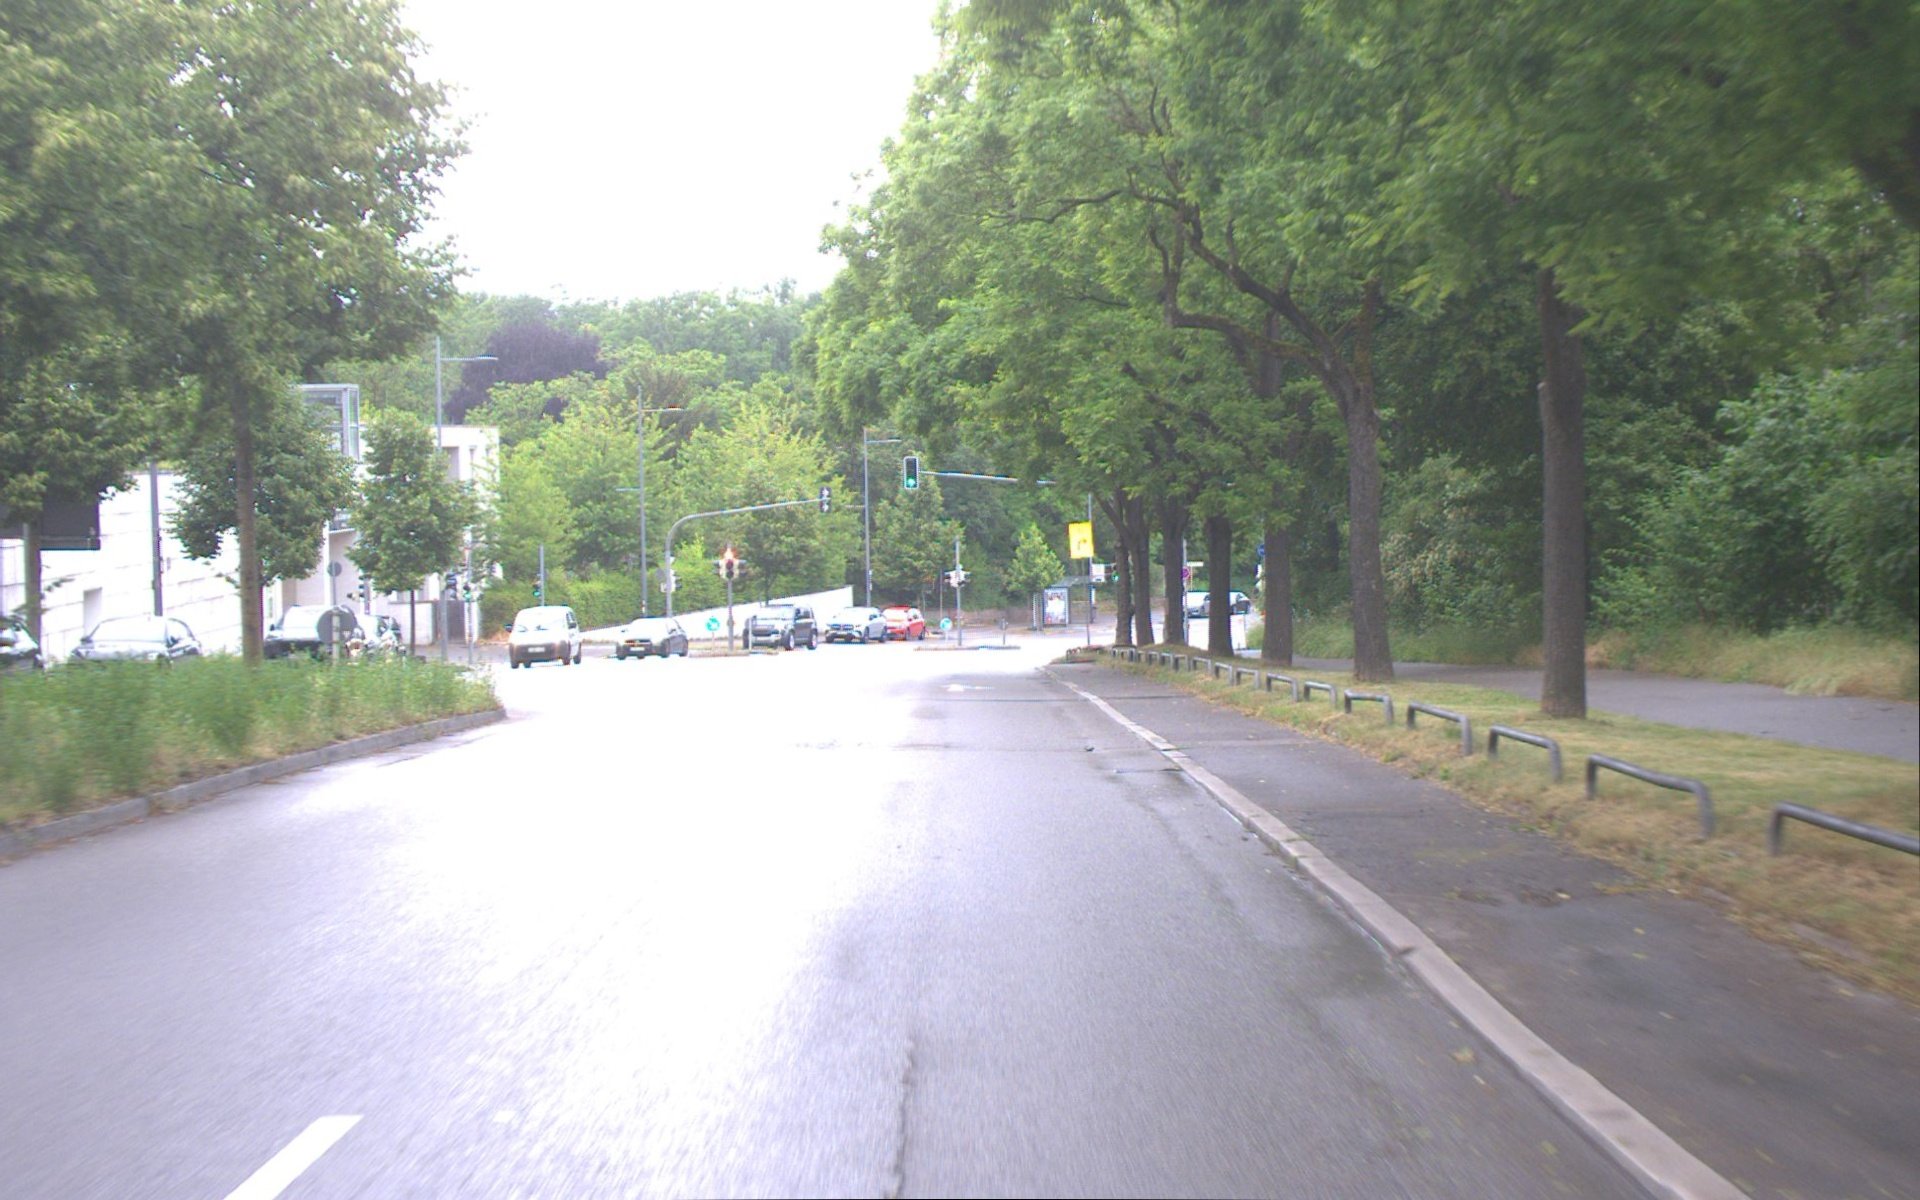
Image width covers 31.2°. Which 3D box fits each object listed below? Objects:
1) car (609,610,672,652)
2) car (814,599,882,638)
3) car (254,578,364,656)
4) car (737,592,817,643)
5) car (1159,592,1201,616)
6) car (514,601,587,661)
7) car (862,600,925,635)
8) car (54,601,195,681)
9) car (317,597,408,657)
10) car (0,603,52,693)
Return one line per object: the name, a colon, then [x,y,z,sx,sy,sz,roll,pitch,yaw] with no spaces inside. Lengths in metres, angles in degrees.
car: [-11.176,1.095,120.545,1.770,1.376,4.190,-2,0,0]
car: [-5.113,0.838,157.891,1.854,1.634,4.090,2,1,17]
car: [-15.579,0.405,82.428,1.856,1.775,4.597,-1,0,-2]
car: [-7.365,0.701,138.893,1.921,1.851,4.504,-5,0,13]
car: [13.874,0.251,216.416,1.714,1.456,3.747,0,0,19]
car: [-12.260,0.913,103.119,1.710,1.740,4.338,-1,0,-1]
car: [-3.190,0.835,165.273,1.876,1.569,4.219,2,0,15]
car: [-15.339,0.744,63.281,1.679,1.421,3.965,0,0,-1]
car: [-15.336,0.692,88.406,1.679,1.510,3.710,0,0,0]
car: [-15.358,0.736,52.724,1.695,1.355,4.162,0,0,1]
